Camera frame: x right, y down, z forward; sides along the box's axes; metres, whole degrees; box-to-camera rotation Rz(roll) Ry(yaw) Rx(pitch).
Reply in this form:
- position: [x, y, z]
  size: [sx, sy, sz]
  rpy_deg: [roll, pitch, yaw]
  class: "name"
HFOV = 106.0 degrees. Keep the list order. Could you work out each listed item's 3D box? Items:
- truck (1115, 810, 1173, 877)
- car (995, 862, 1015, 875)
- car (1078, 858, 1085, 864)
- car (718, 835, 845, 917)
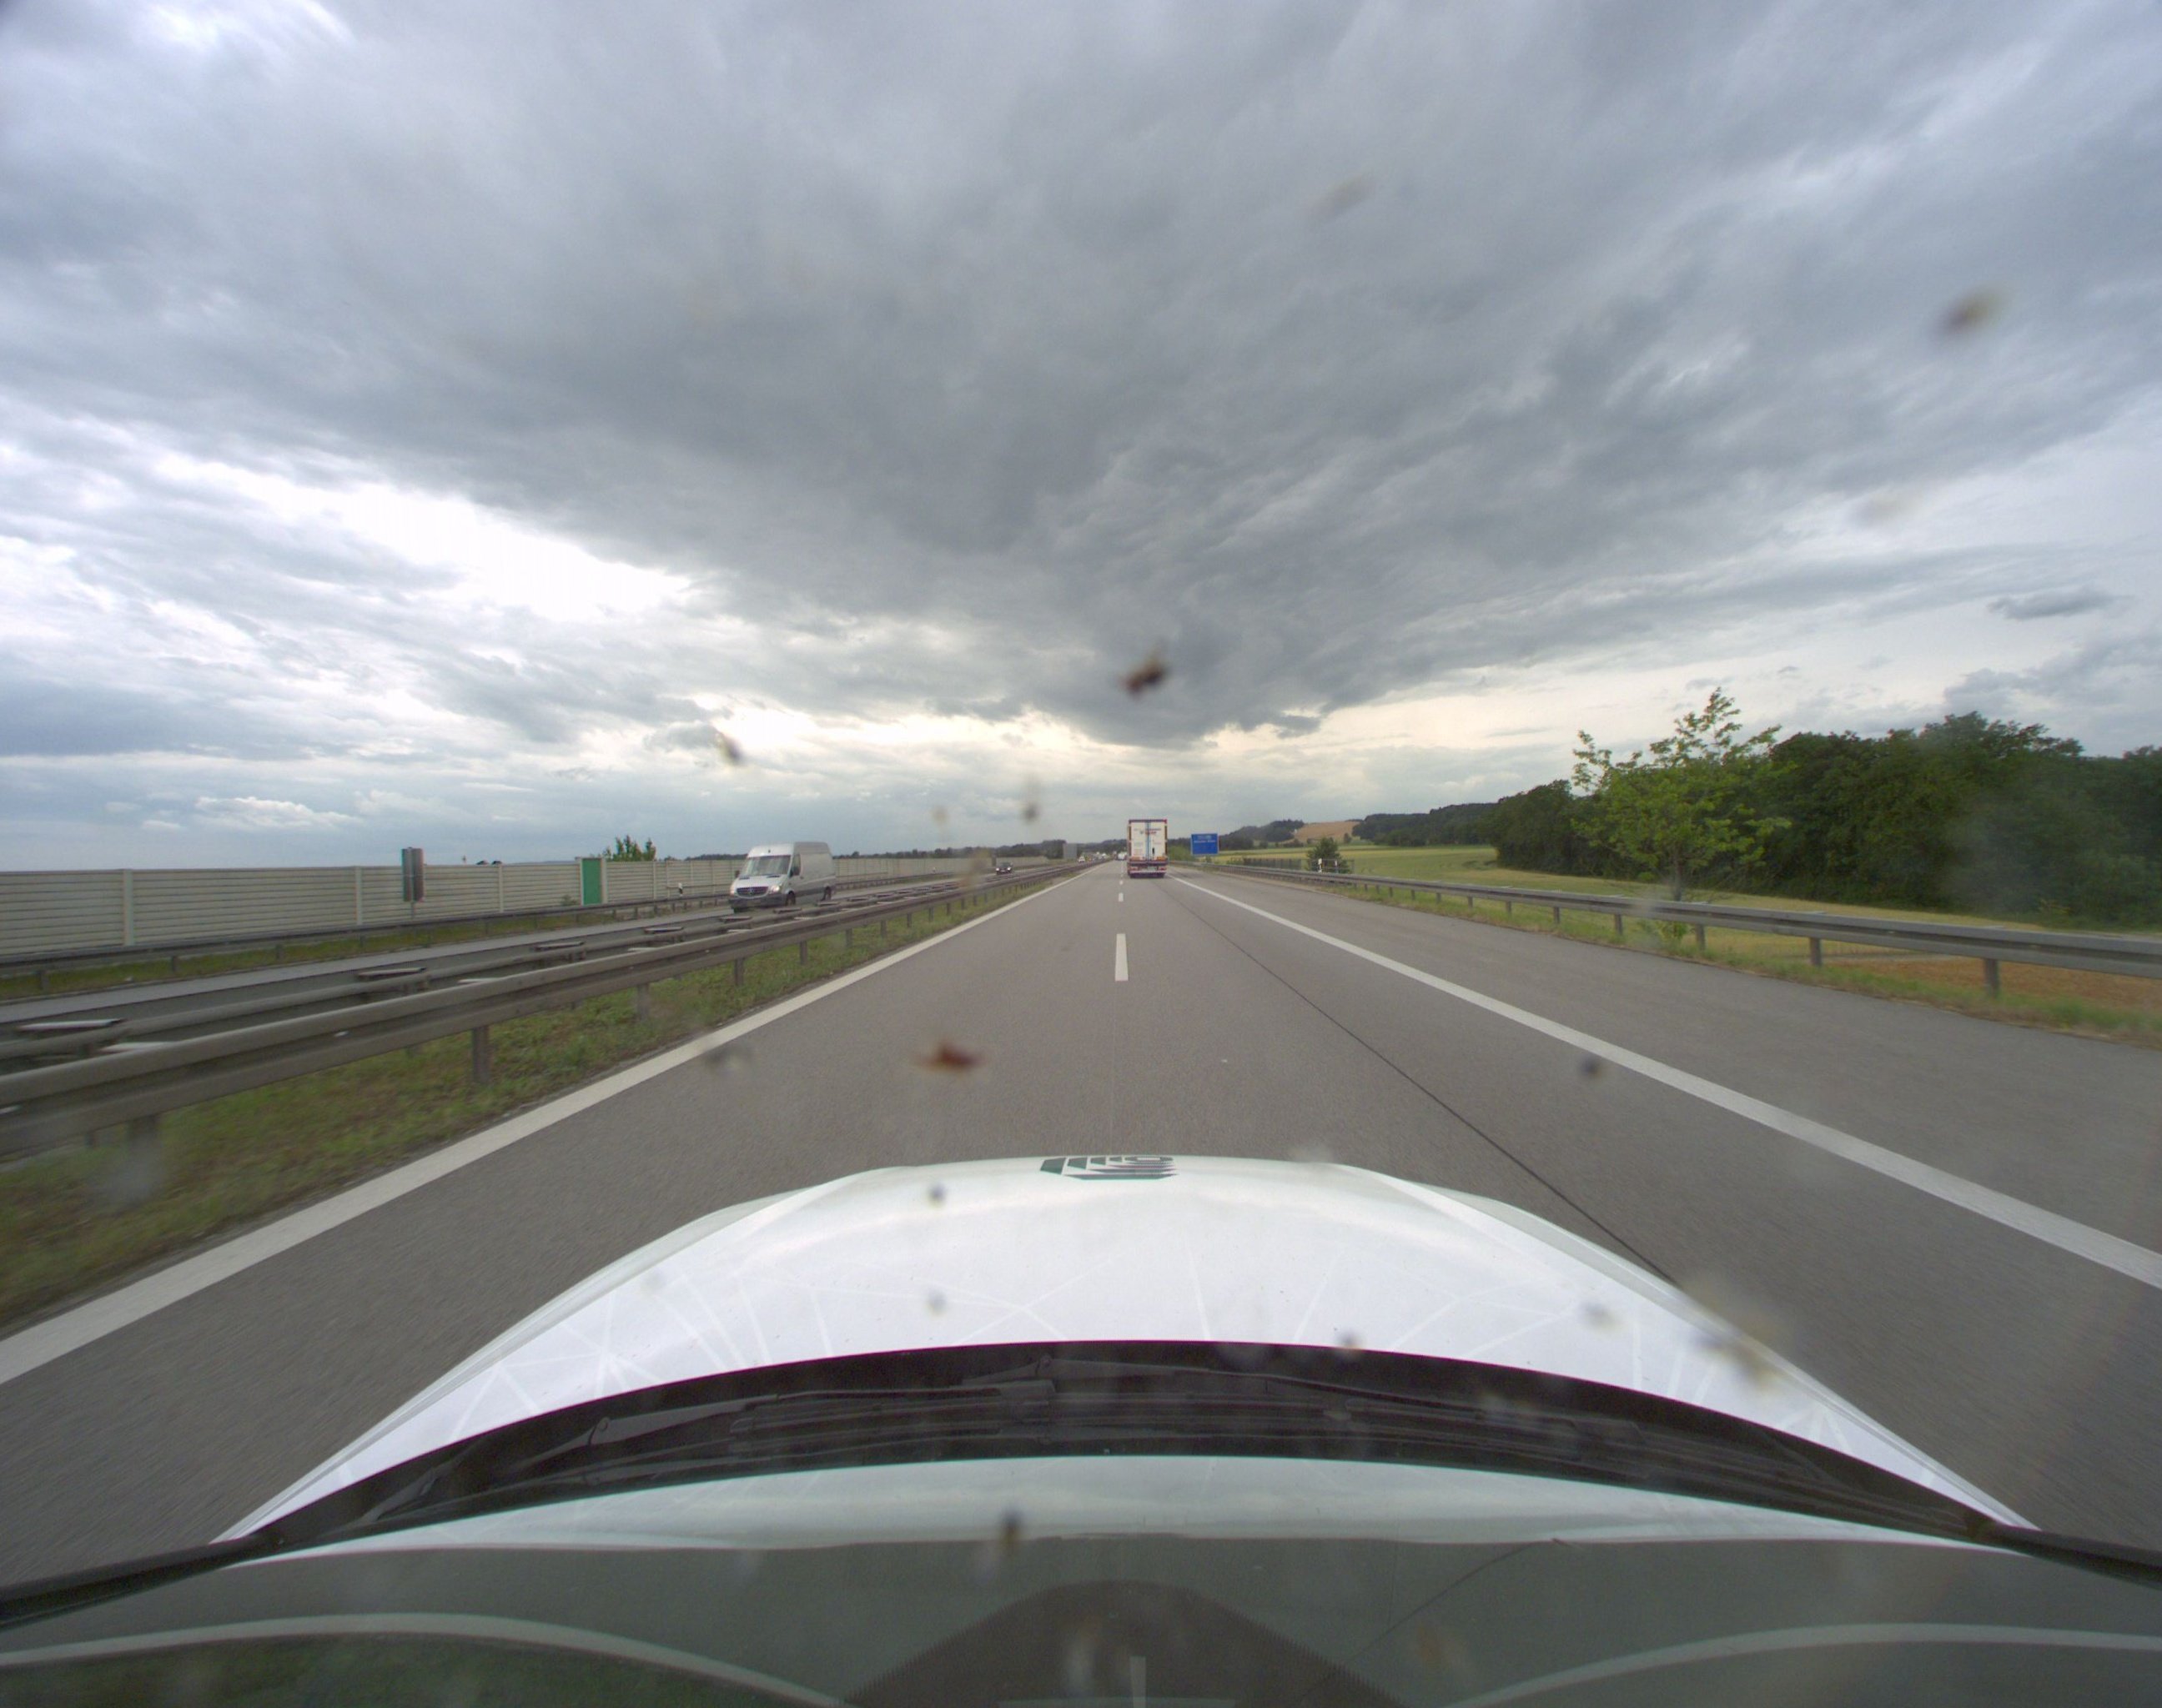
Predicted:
- position: [4.555, -0.731, 63.062]
  size: [3.658, 4.412, 16.348]
  rpy_deg: [-2, 0, 2]
  class: "truck"
- position: [-8.397, 1.585, 90.327]
  size: [1.664, 1.386, 4.002]
  rpy_deg: [-3, 0, 2]
  class: "car"
- position: [0.250, 2.042, 244.574]
  size: [1.748, 1.742, 4.917]
  rpy_deg: [-5, 0, 3]
  class: "car"
- position: [-11.094, 0.763, 30.811]
  size: [2.062, 2.602, 6.292]
  rpy_deg: [-5, -1, 2]
  class: "car"
